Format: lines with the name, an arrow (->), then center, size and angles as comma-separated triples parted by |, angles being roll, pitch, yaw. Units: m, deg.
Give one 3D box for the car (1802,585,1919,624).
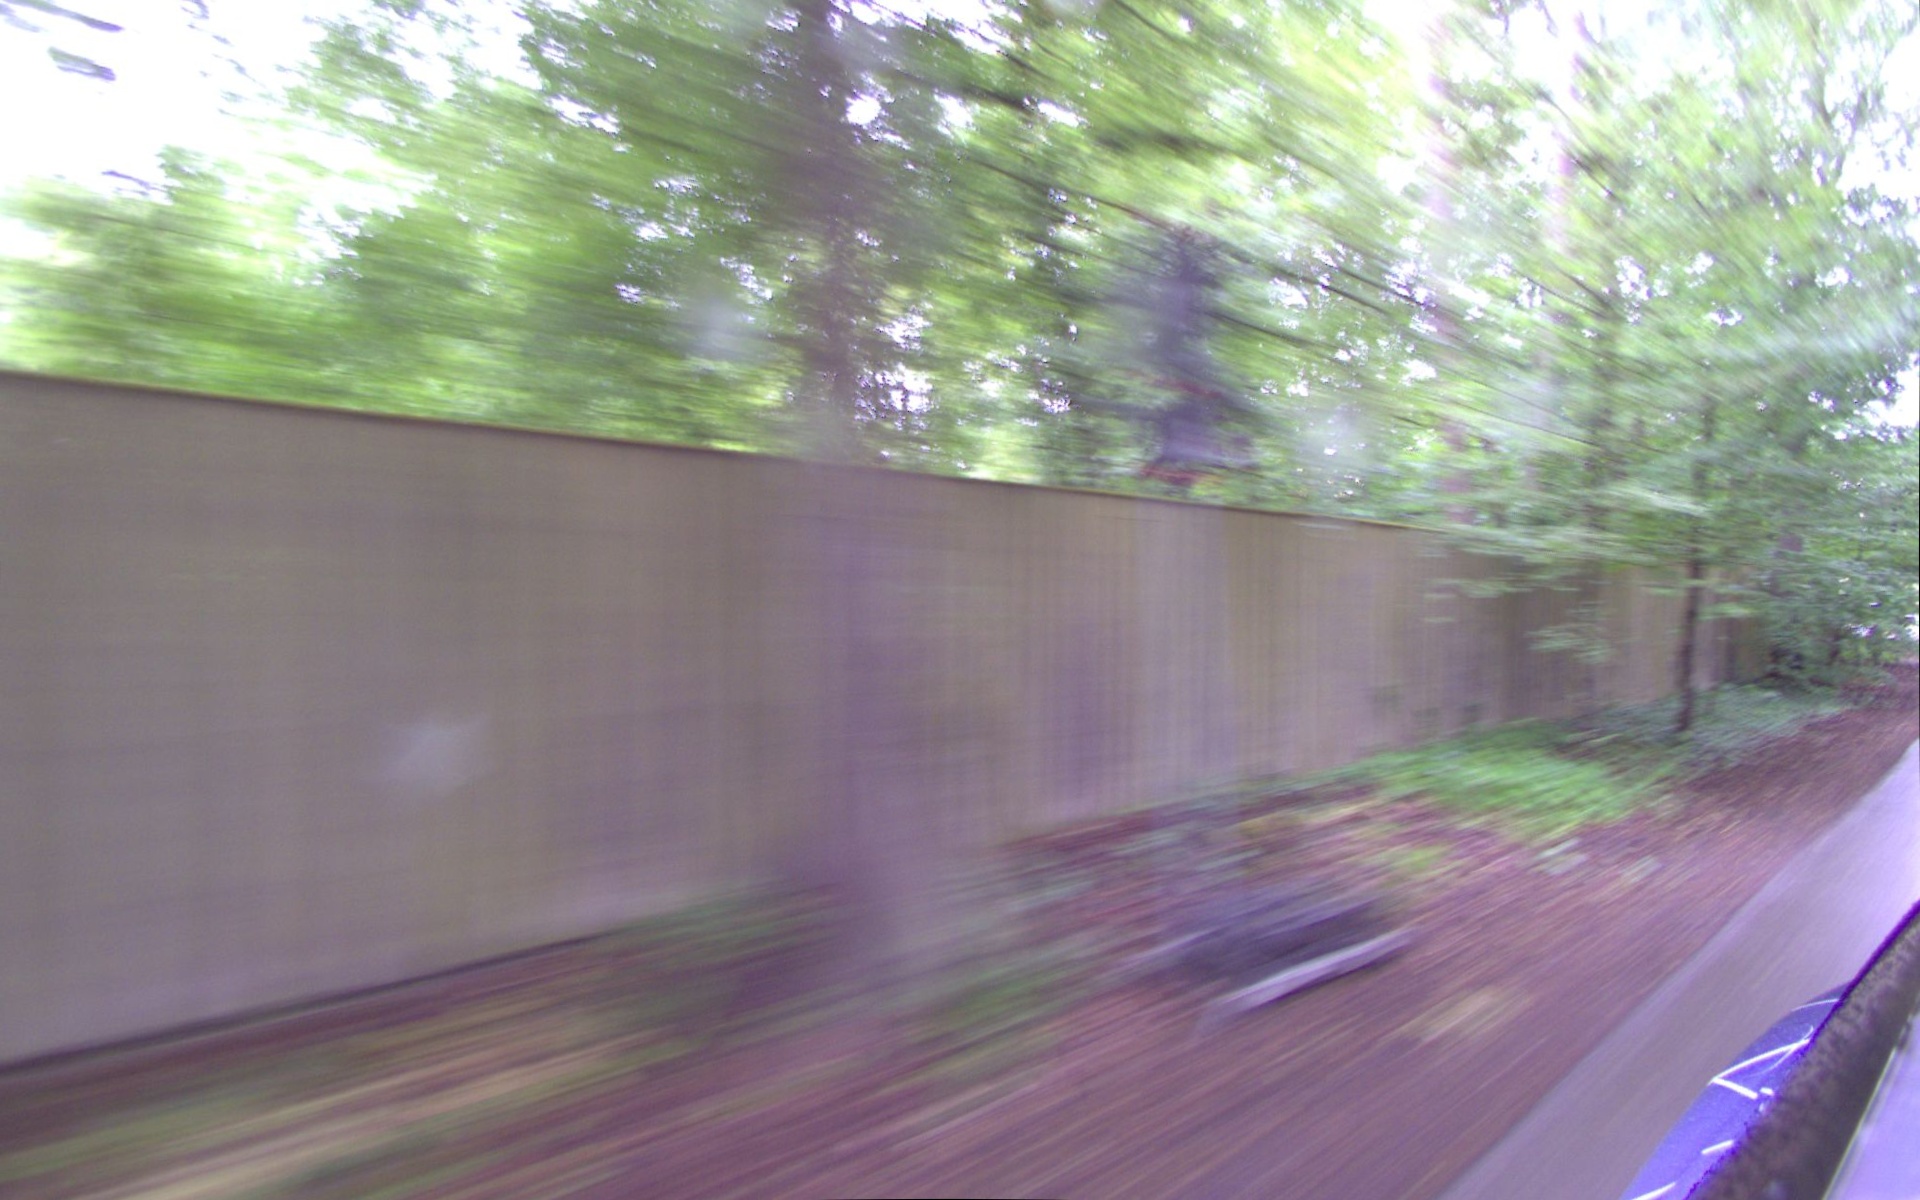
car -> 36.401, 0.149, 40.553 | 1.672, 1.453, 3.724 | 0, 1, -29
